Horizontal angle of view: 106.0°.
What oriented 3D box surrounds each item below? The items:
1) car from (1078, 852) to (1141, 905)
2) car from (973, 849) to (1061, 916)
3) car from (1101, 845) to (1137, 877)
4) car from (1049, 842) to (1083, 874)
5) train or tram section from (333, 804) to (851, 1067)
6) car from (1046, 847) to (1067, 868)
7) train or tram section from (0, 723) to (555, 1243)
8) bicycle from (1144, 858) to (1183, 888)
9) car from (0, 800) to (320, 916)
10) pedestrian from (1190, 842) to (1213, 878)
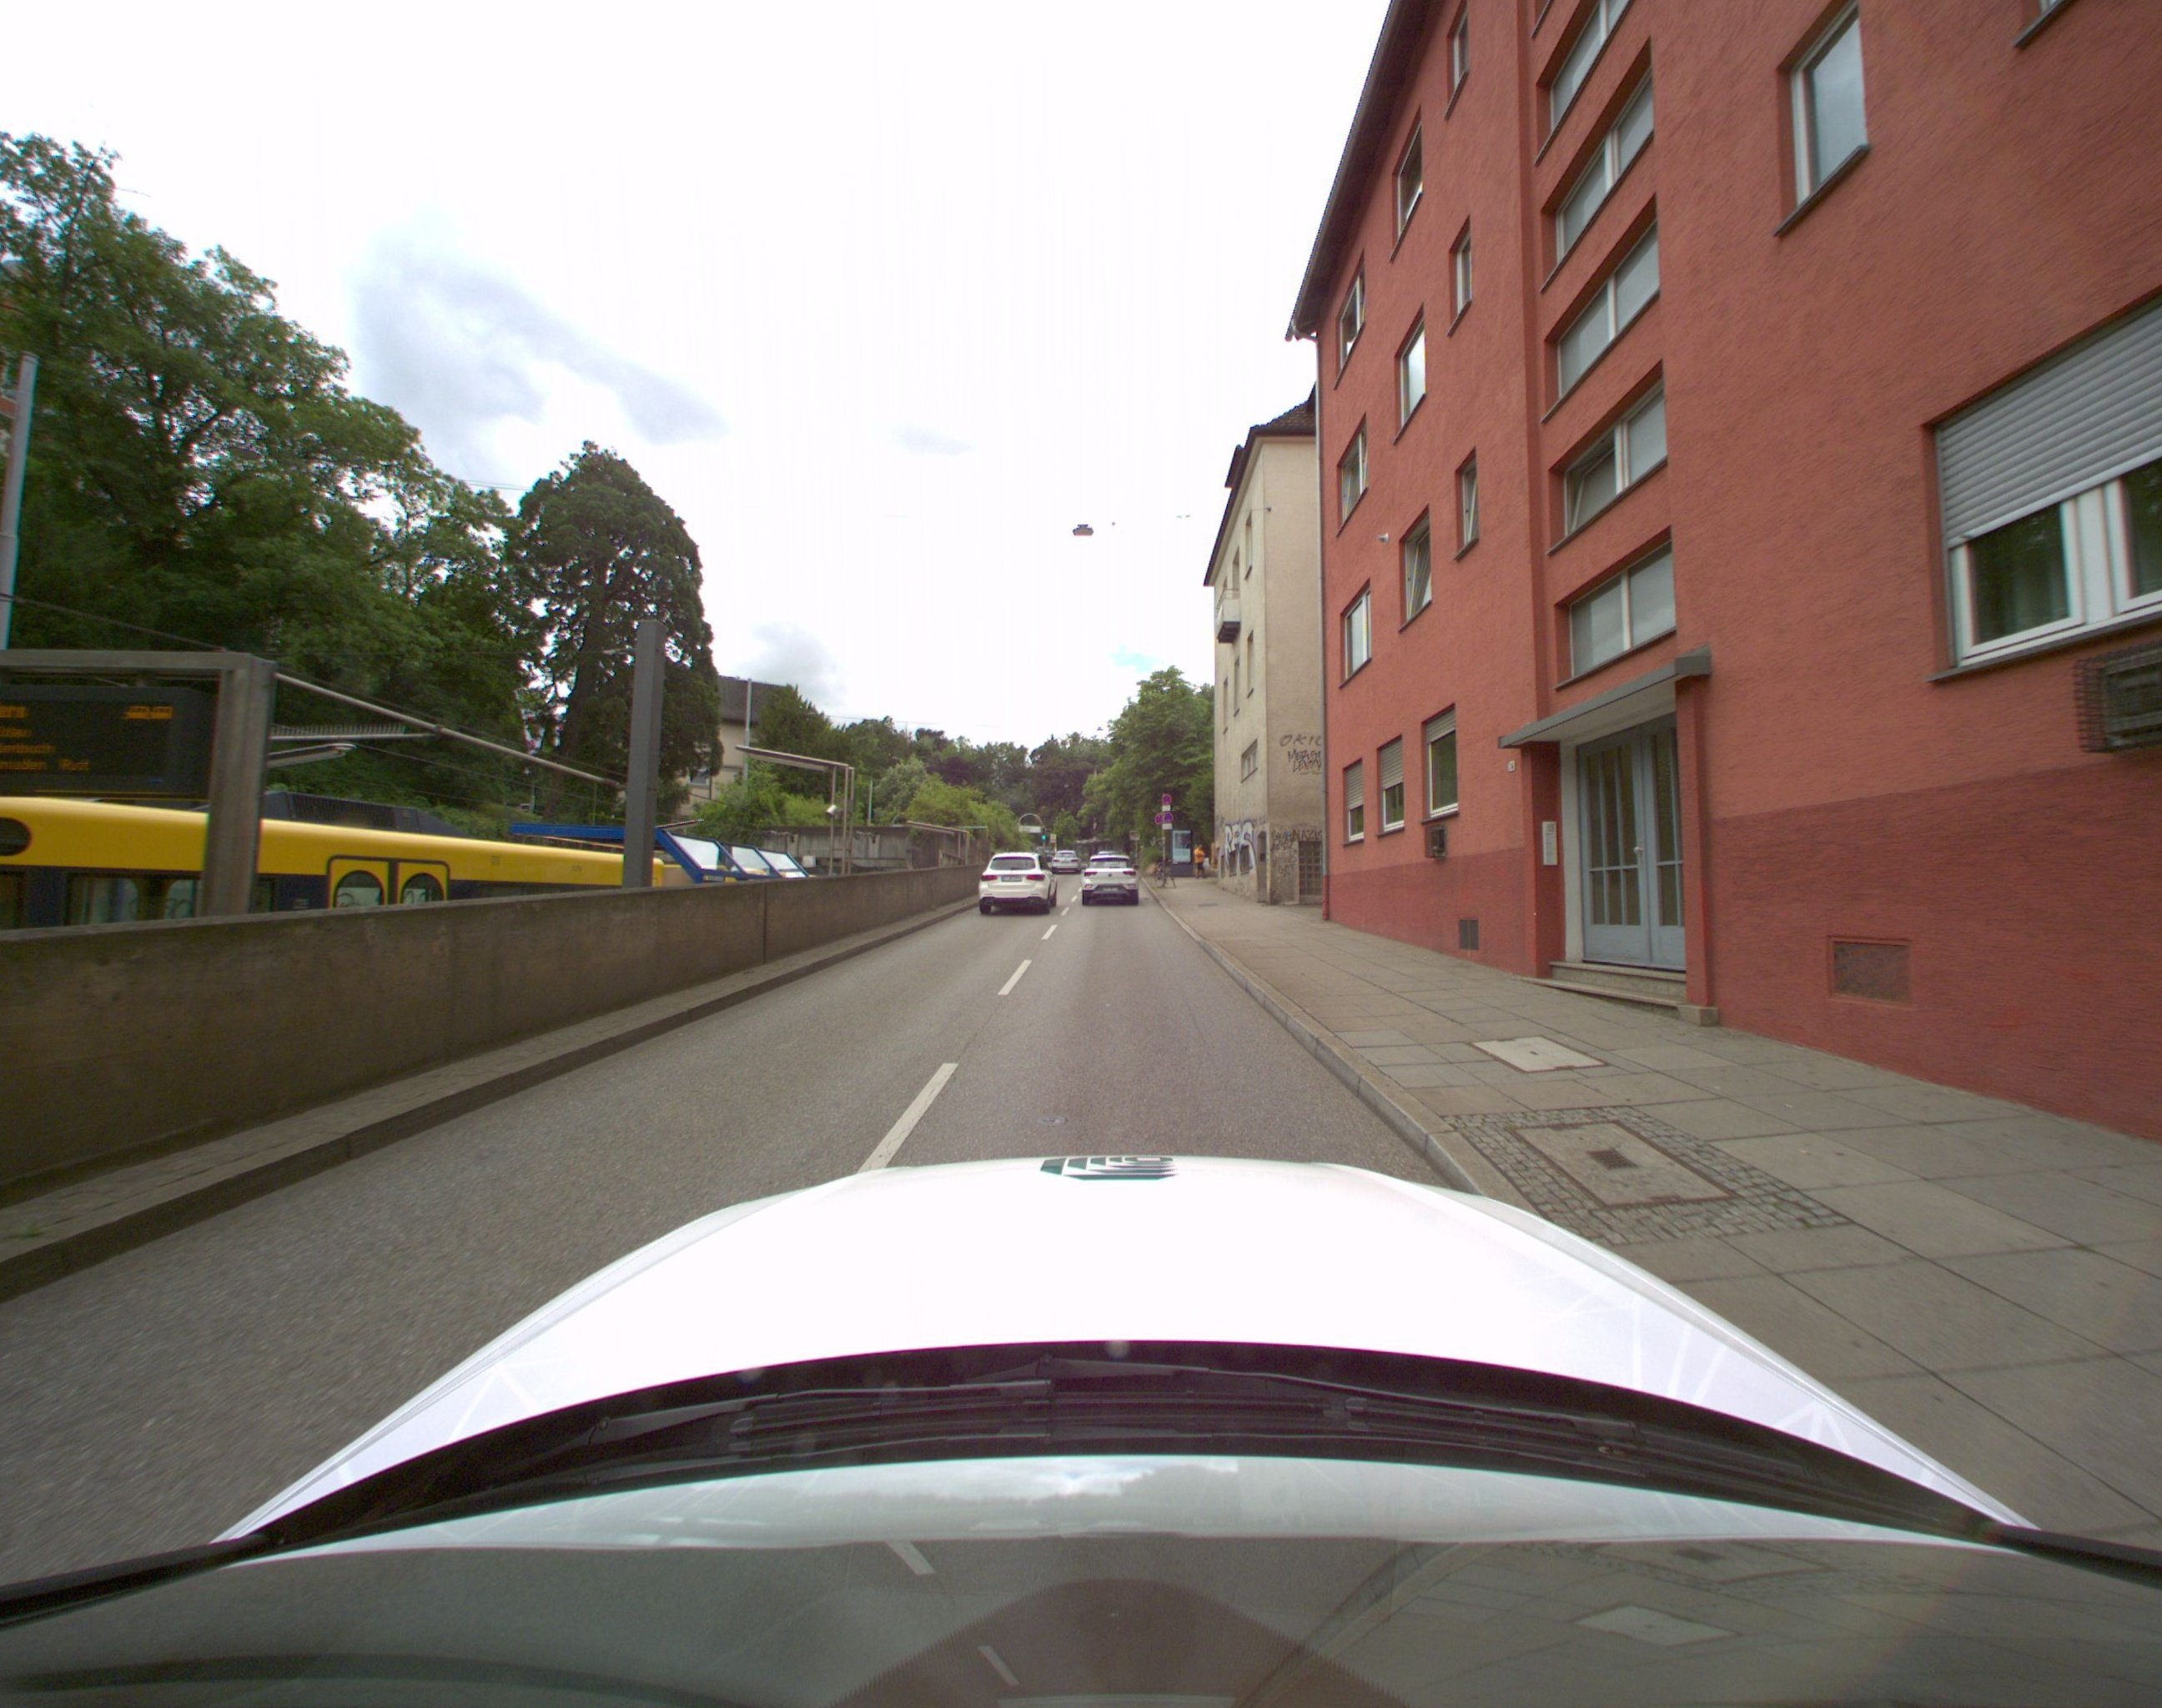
[{"bbox_3d":[0.972,0.738,26.395,1.857,1.556,3.898,-1,0,3],"label":"car"},{"bbox_3d":[-1.699,0.734,22.931,1.869,1.652,4.345,-1,0,3],"label":"car"},{"bbox_3d":[2.043,0.367,44.183,1.853,1.632,3.961,0,0,2],"label":"car"},{"bbox_3d":[-0.909,0.245,52.435,1.986,1.882,4.001,1,0,1],"label":"car"},{"bbox_3d":[-8.397,1.286,17.455,2.938,3.509,12.988,0,-2,1],"label":"train or tram section"},{"bbox_3d":[-2.297,0.326,77.127,1.743,1.882,4.001,1,0,1],"label":"car"},{"bbox_3d":[-8.729,0.844,4.890,2.939,3.484,12.218,0,-2,1],"label":"train or tram section"},{"bbox_3d":[3.270,0.755,32.405,0.641,1.143,2.049,1,-1,-23],"label":"bicycle"},{"bbox_3d":[-18.375,0.027,16.563,1.987,2.013,4.000,2,1,0],"label":"car"},{"bbox_3d":[5.836,0.293,39.540,0.833,1.712,0.818,-1,0,-12],"label":"pedestrian"}]
